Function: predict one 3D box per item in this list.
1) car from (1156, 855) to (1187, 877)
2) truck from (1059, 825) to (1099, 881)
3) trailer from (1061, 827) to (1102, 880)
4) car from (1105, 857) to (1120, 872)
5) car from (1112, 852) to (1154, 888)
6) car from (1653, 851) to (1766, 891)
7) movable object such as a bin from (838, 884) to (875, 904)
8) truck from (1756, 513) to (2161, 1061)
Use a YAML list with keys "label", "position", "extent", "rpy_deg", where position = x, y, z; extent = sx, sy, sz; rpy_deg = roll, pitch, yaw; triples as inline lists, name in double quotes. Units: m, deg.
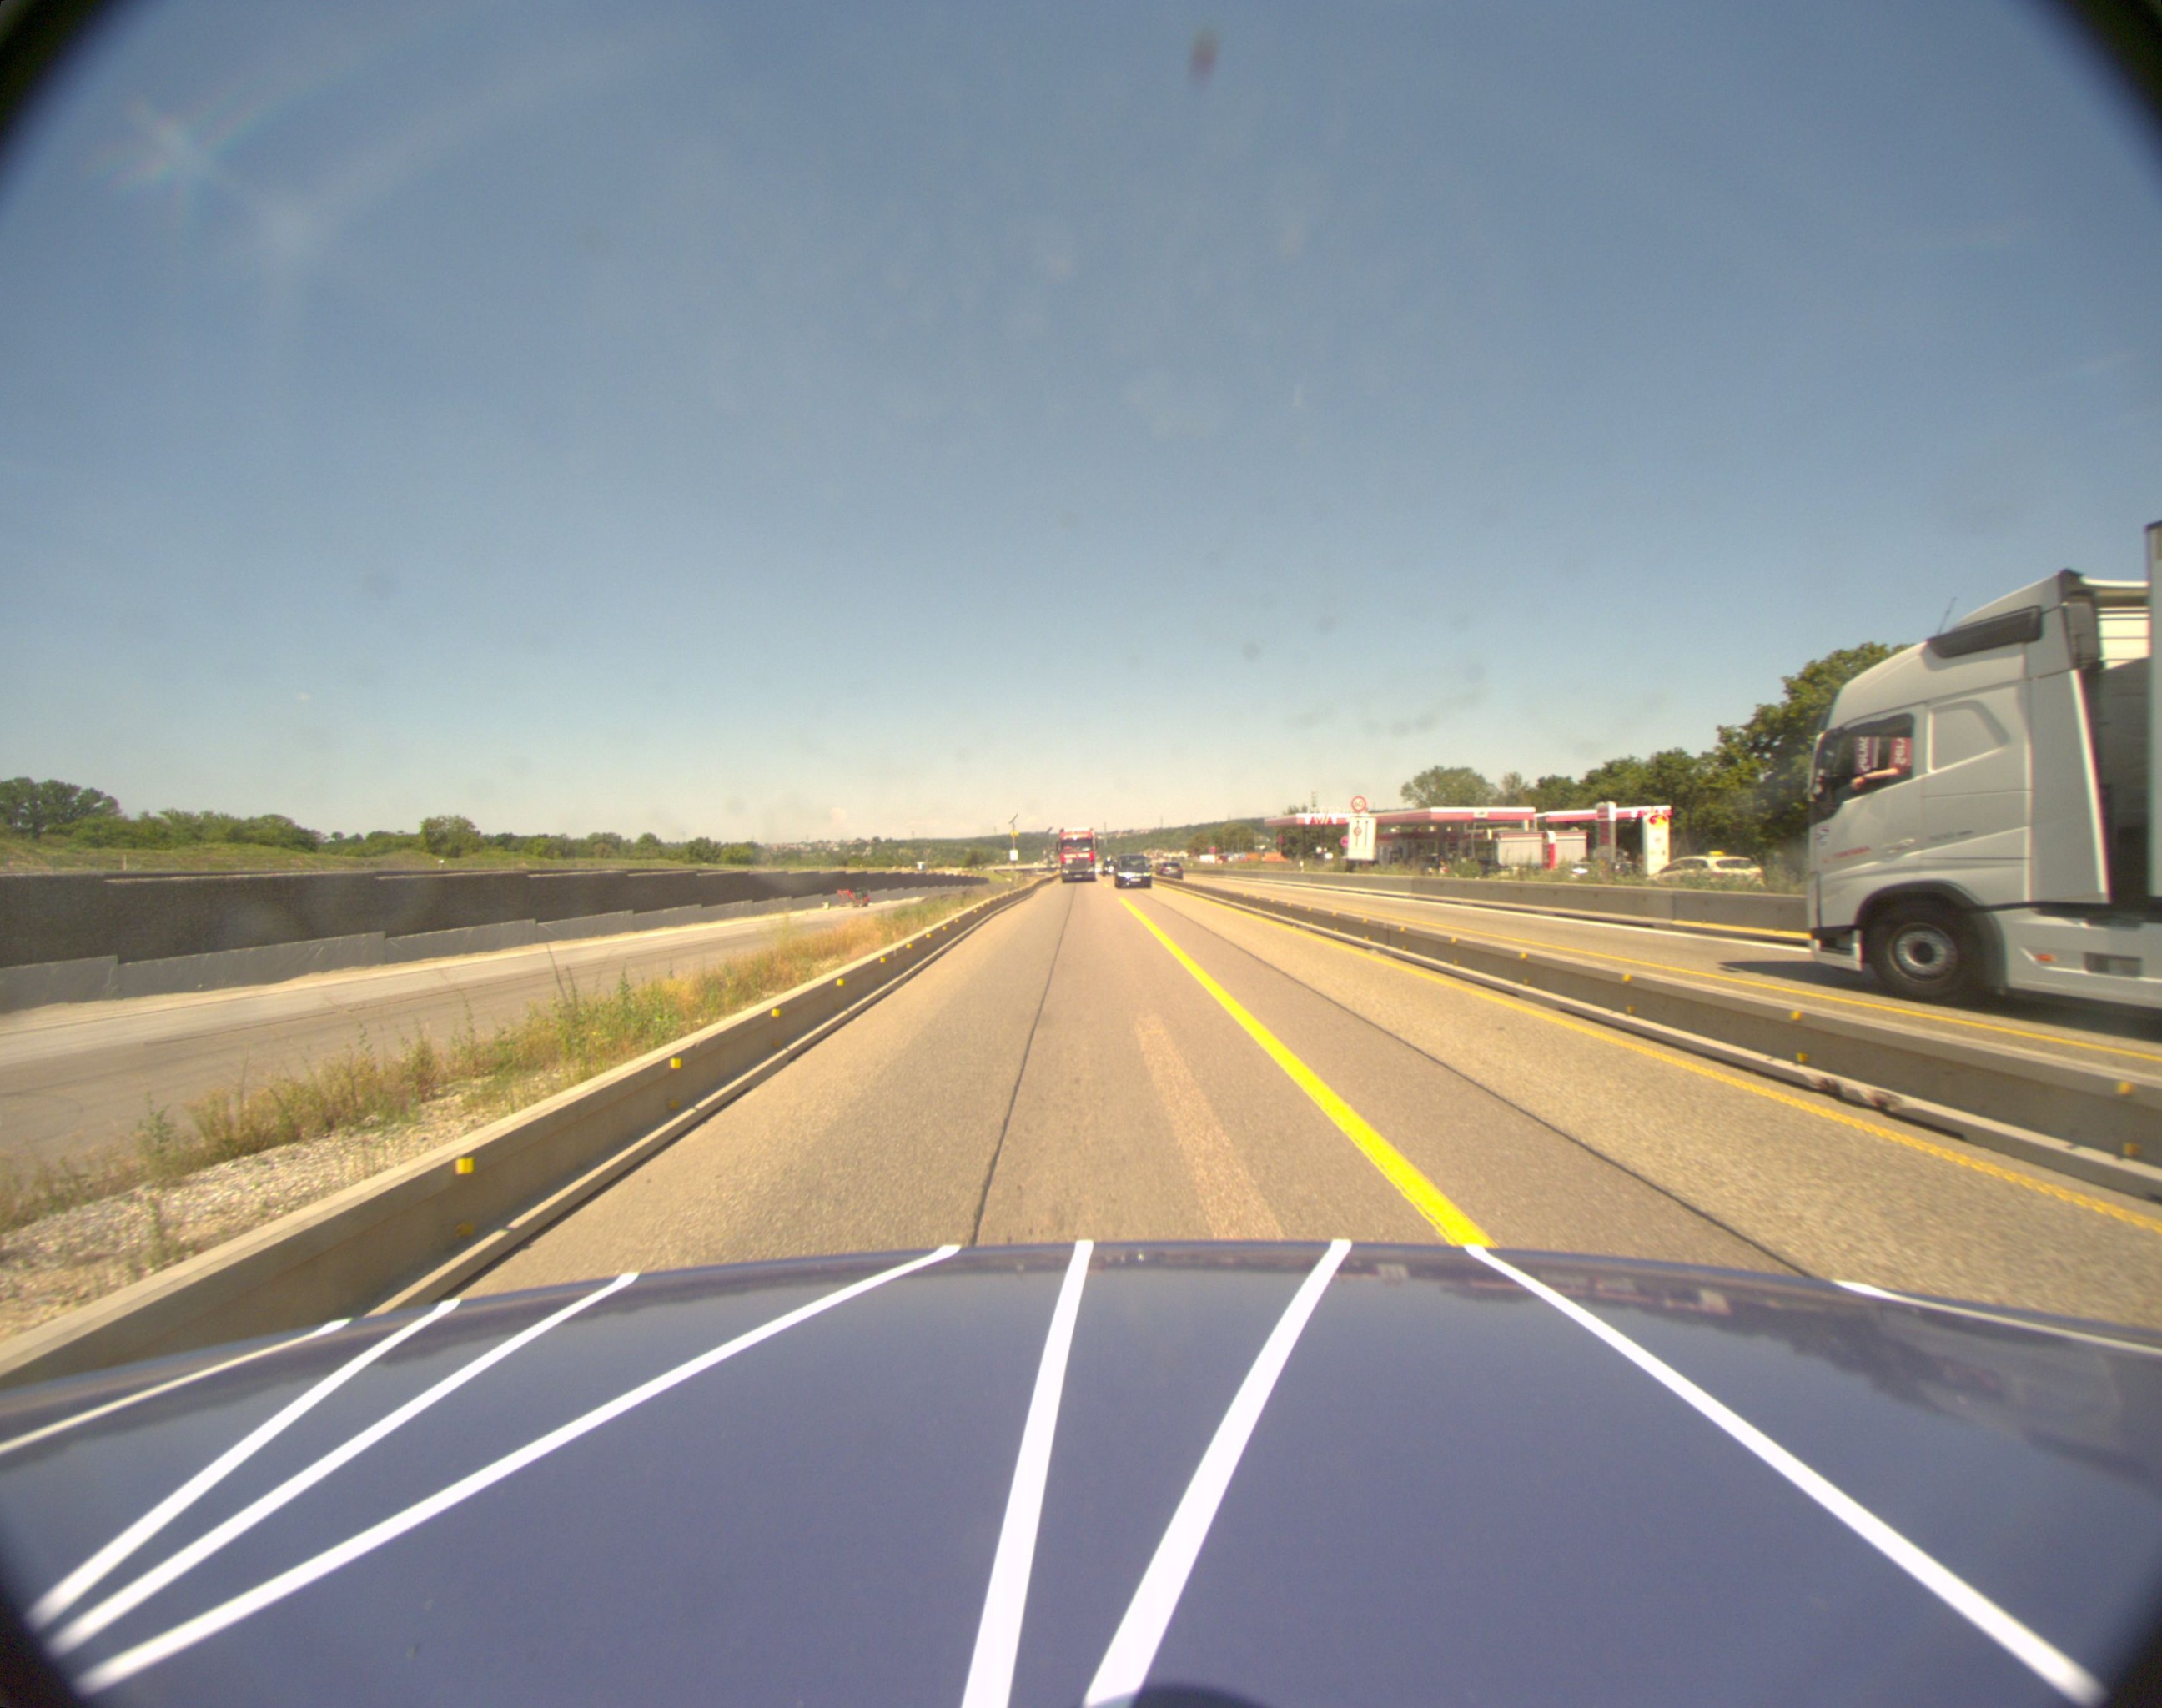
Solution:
- label: "car"
  position: [6.734, 0.878, 56.826]
  extent: [1.799, 1.477, 4.000]
  rpy_deg: [-2, 0, 0]
- label: "truck"
  position: [-0.087, -0.103, 56.472]
  extent: [2.626, 3.880, 4.934]
  rpy_deg: [-2, 1, 2]
- label: "trailer"
  position: [0.207, -0.084, 62.790]
  extent: [2.701, 3.852, 12.423]
  rpy_deg: [-2, 0, 2]
- label: "car"
  position: [3.333, 1.109, 80.309]
  extent: [1.427, 1.477, 3.414]
  rpy_deg: [-2, 0, 1]
- label: "car"
  position: [2.719, 0.783, 40.752]
  extent: [1.926, 1.779, 4.603]
  rpy_deg: [-1, 0, 0]
- label: "car"
  position: [23.465, 0.599, 28.519]
  extent: [1.455, 1.368, 3.407]
  rpy_deg: [-2, 0, 1]
- label: "movable object such as a bin"
  position: [-27.927, 4.948, 94.624]
  extent: [4.139, 2.135, 1.759]
  rpy_deg: [-2, 1, -27]
- label: "truck"
  position: [9.531, -0.540, 6.352]
  extent: [2.838, 4.108, 5.457]
  rpy_deg: [-2, 1, 0]
